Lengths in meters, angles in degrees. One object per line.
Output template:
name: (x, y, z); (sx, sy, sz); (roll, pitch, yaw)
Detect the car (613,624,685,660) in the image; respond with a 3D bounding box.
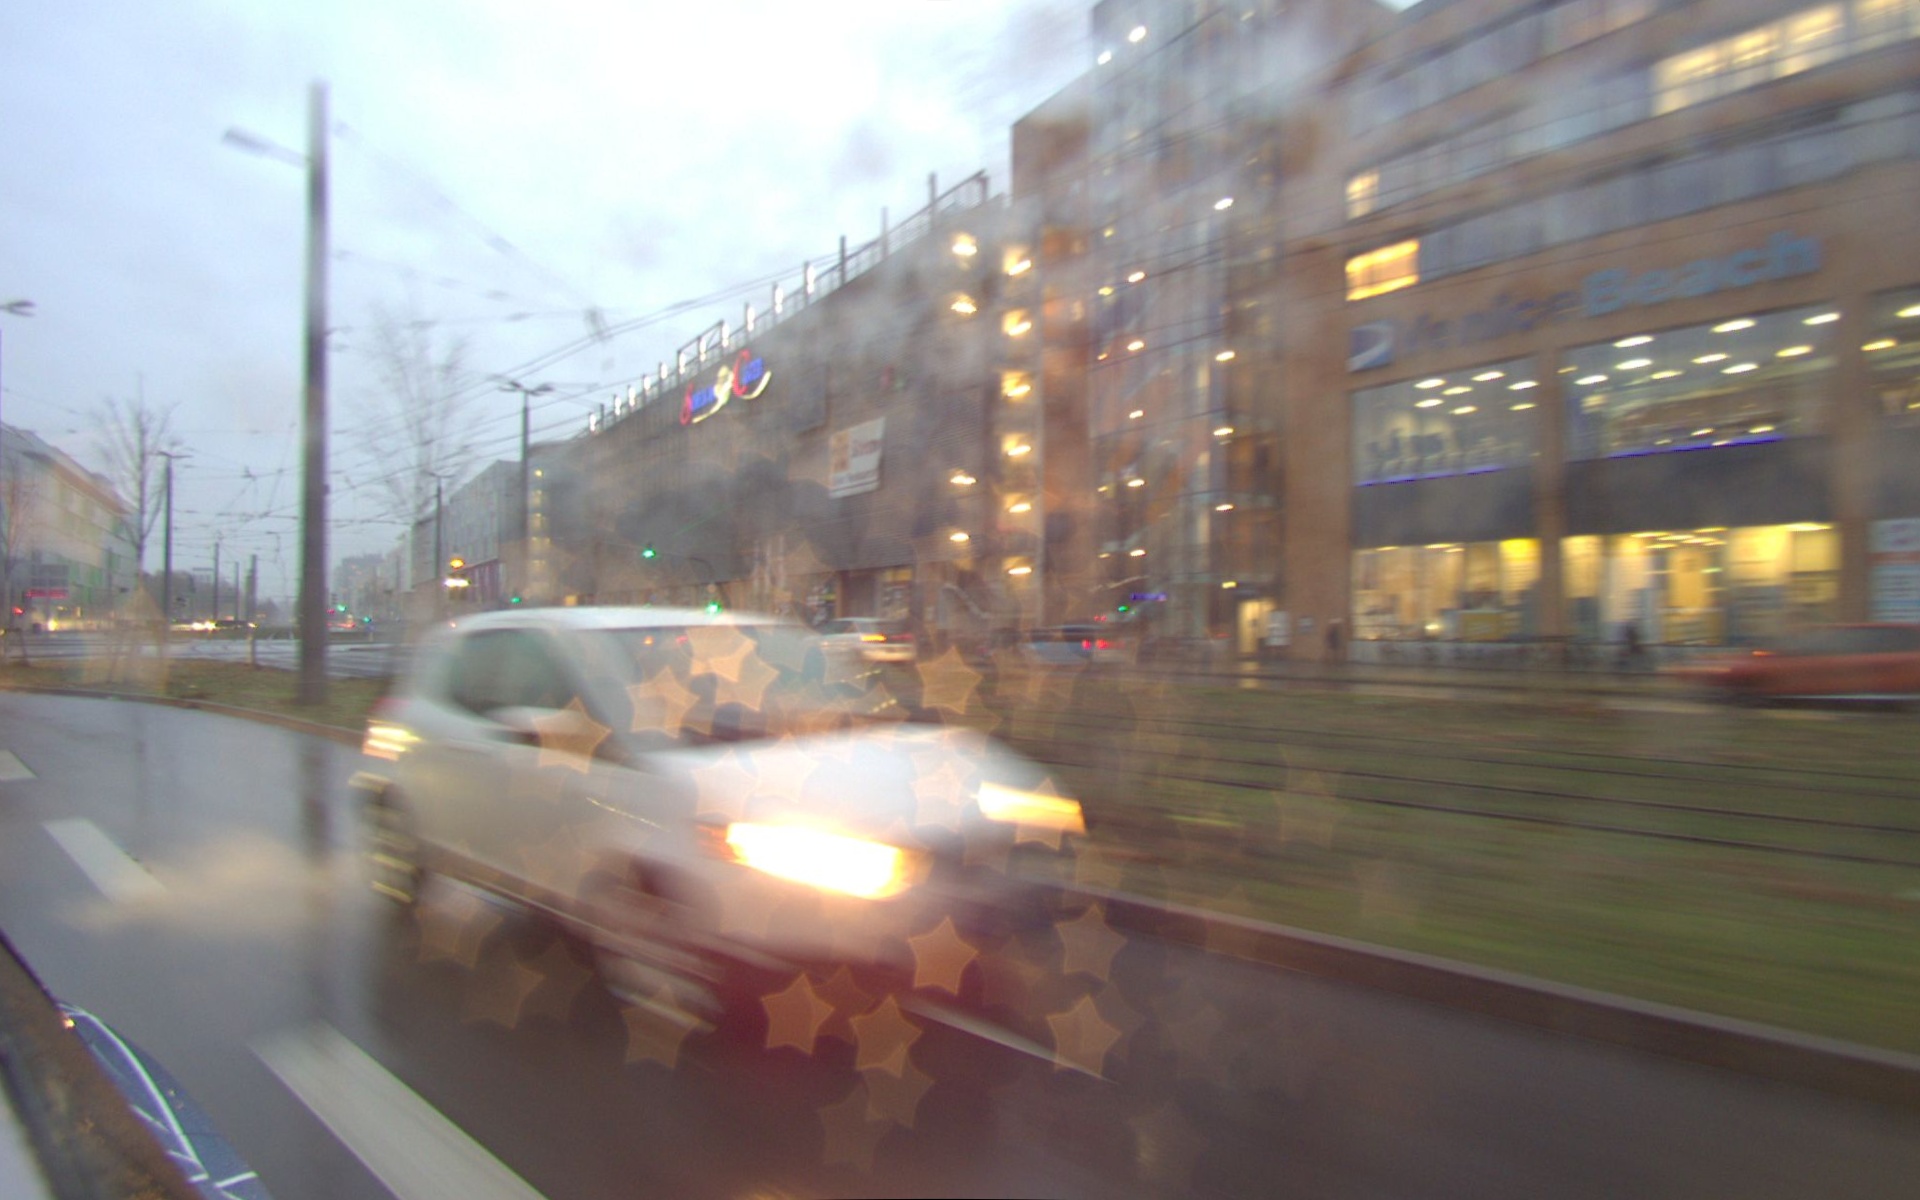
car: (-13.384, 1.768, 43.474); (1.791, 1.453, 3.966); (1, -2, -35)

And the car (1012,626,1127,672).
car: (3.494, 1.546, 32.717); (3.550, 1.412, 1.489); (-1, -2, 44)

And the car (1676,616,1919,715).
car: (13.581, 0.946, 15.434); (4.197, 1.403, 1.711); (-1, -2, 41)

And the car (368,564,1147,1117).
car: (-1.172, 0.714, 4.627); (3.684, 1.507, 1.621); (-2, -2, 42)

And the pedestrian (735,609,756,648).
pedestrian: (-13.810, 1.826, 65.286); (0.950, 2.457, 1.117); (2, -1, -33)

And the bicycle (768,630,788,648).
bicycle: (-11.768, 2.507, 65.411); (0.469, 1.130, 2.097); (2, -1, -34)

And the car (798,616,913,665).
car: (-3.268, 1.206, 31.274); (3.653, 1.383, 1.490); (0, -1, 43)
